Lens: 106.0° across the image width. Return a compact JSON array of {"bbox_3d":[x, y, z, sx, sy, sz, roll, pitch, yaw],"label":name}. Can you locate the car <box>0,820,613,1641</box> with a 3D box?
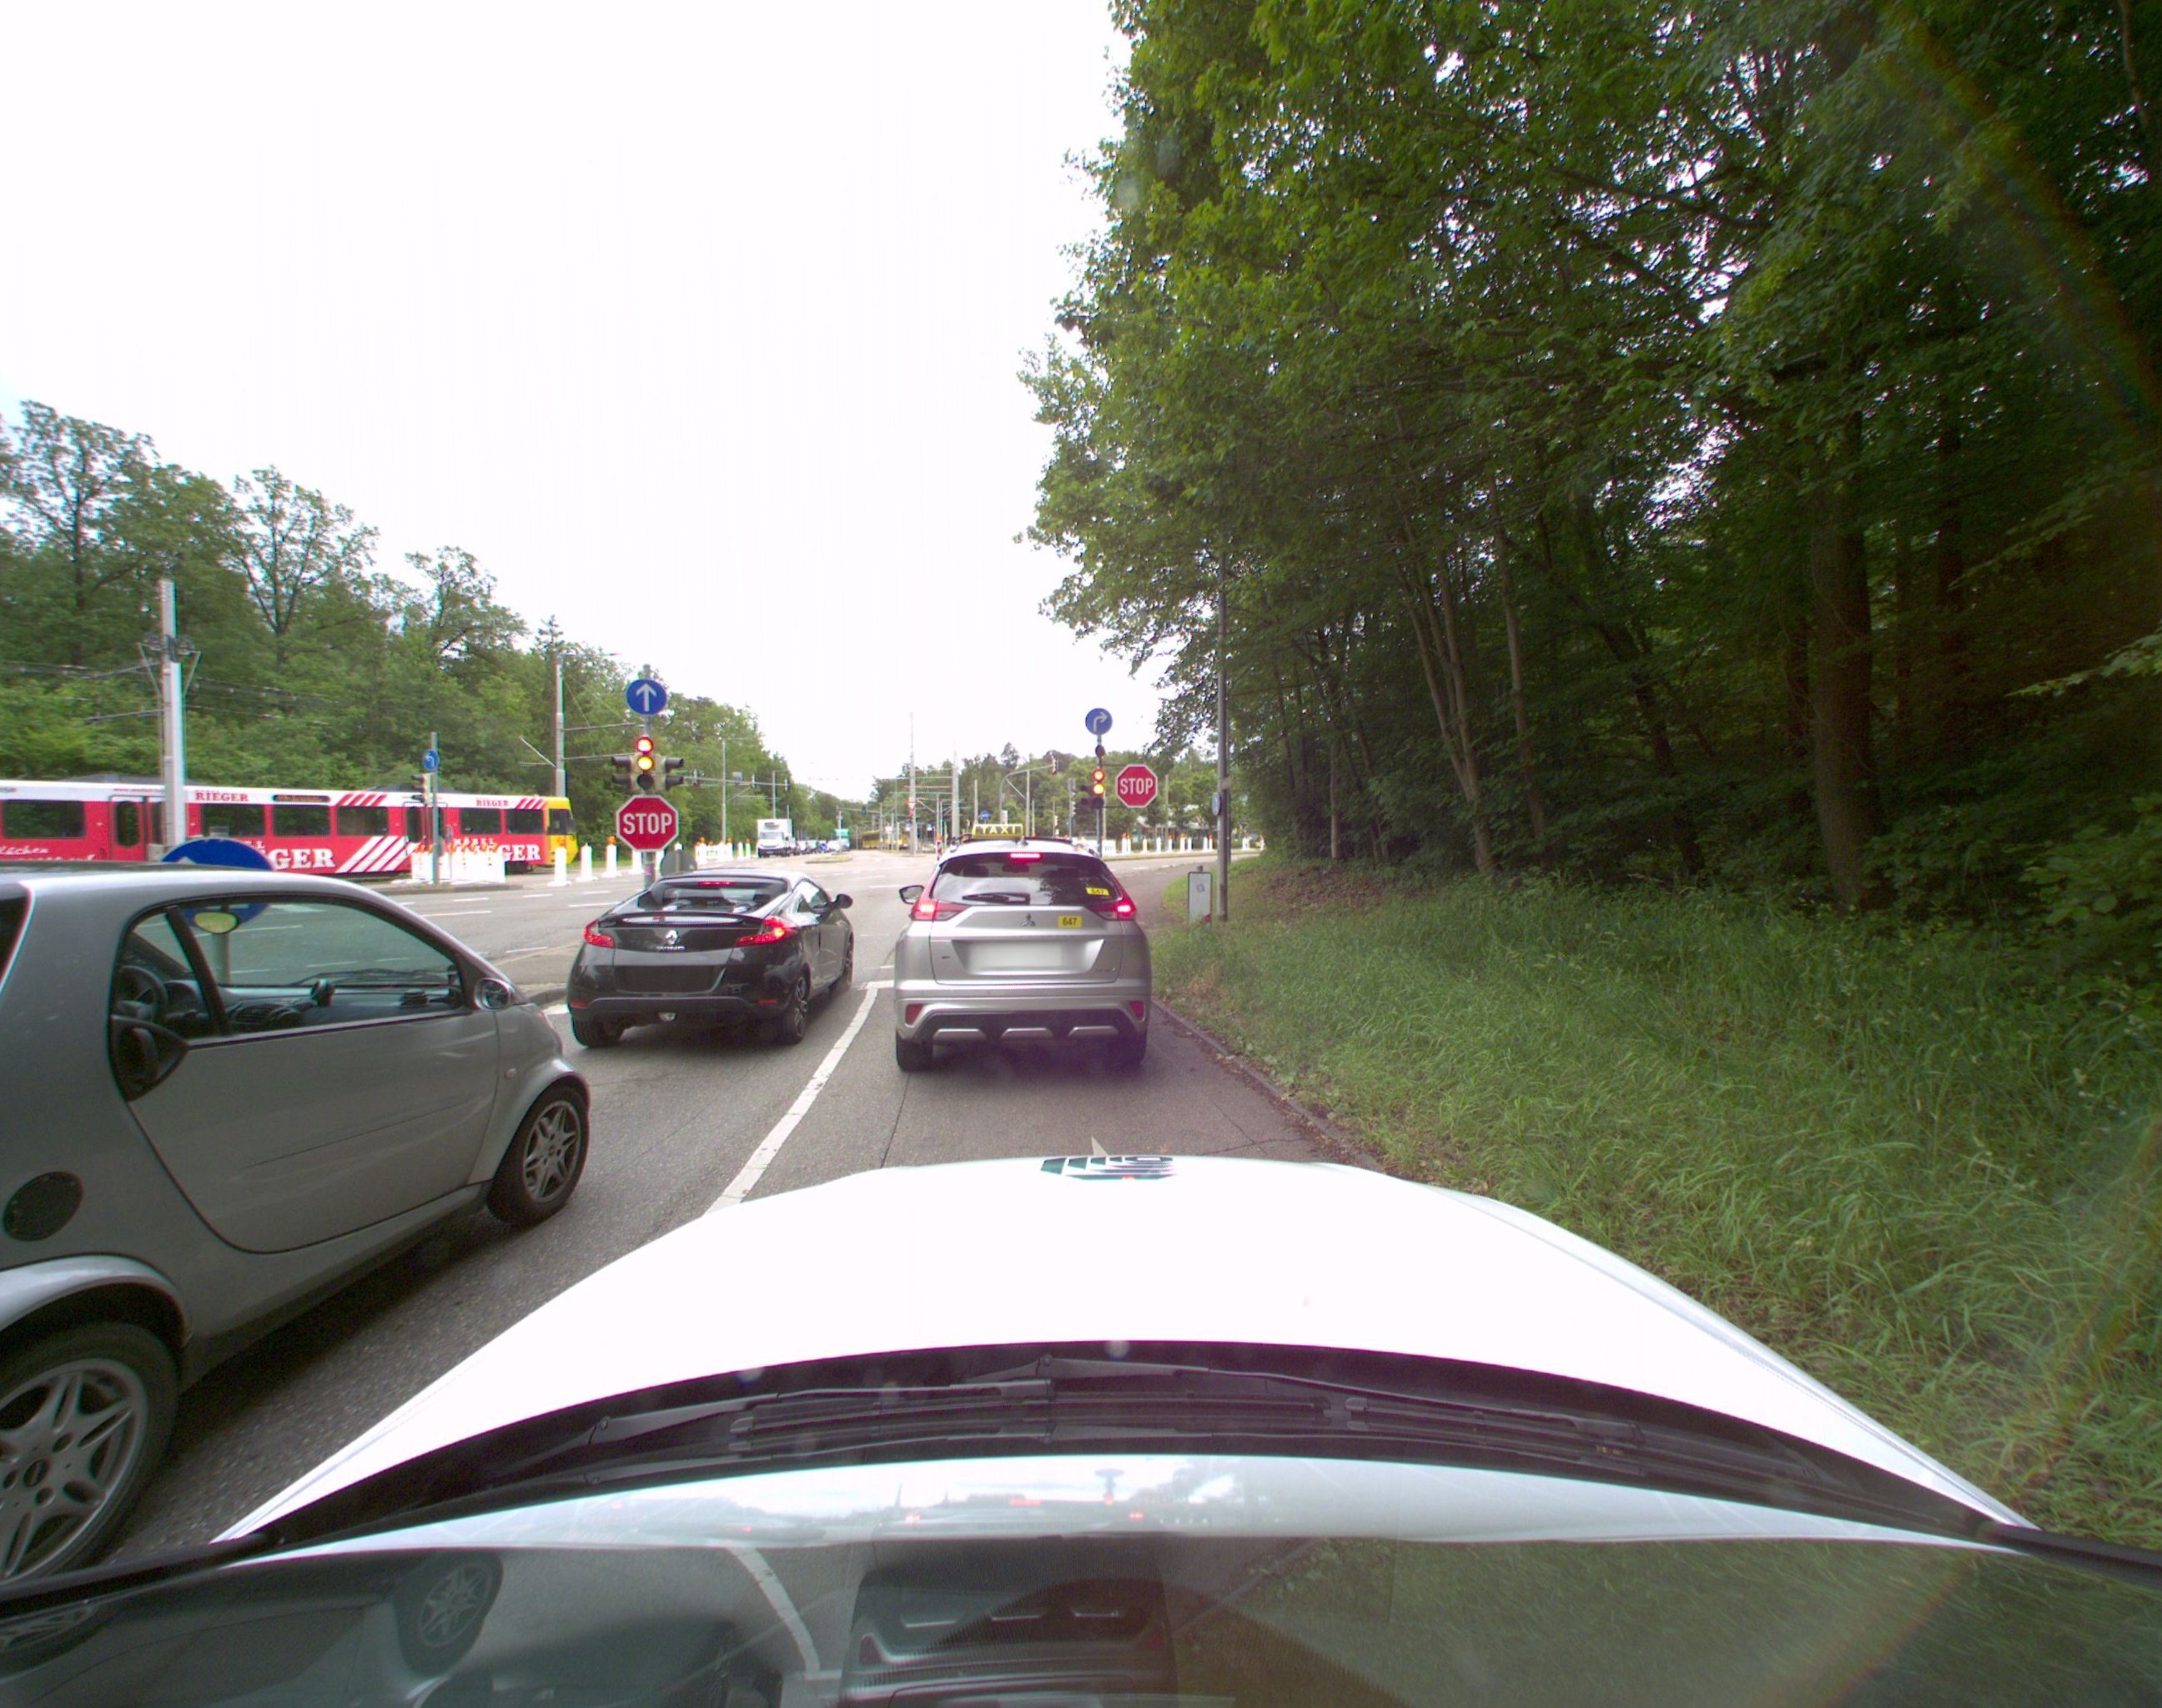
[{"bbox_3d":[-2.901,0.729,2.494,1.455,1.586,2.724,-1,1,-4],"label":"car"}]

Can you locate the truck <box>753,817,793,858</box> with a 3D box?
[{"bbox_3d":[-25.529,-1.335,67.712,2.454,3.224,7.116,-2,1,-16],"label":"truck"}]

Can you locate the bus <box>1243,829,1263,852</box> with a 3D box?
[{"bbox_3d":[28.559,-2.299,135.237,2.804,3.602,12.841,0,1,10],"label":"bus"}]

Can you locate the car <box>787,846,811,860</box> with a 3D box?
[{"bbox_3d":[-30.257,-0.151,87.600,1.964,1.361,4.669,-1,1,-13],"label":"car"}]

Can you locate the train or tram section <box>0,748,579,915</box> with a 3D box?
[{"bbox_3d":[-28.431,-0.591,29.437,2.919,4.650,18.656,-1,-1,28],"label":"train or tram section"}]

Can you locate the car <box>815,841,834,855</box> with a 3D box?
[{"bbox_3d":[-32.075,-0.780,101.978,1.964,1.607,4.291,-1,1,-13],"label":"car"}]

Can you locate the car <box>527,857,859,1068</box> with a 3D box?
[{"bbox_3d":[-3.188,0.756,7.497,1.773,1.361,3.466,-1,1,-9],"label":"car"}]

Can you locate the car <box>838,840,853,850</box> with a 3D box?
[{"bbox_3d":[-34.963,-1.374,121.097,1.964,1.540,4.291,-1,1,-13],"label":"car"}]

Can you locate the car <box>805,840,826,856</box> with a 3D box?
[{"bbox_3d":[-31.326,-0.736,96.100,1.964,1.844,4.669,-1,1,-13],"label":"car"}]

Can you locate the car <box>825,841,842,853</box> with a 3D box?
[{"bbox_3d":[-32.772,-1.003,107.923,1.964,1.541,4.376,-1,1,-13],"label":"car"}]

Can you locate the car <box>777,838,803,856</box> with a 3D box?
[{"bbox_3d":[-28.391,-0.695,79.573,1.965,1.749,4.822,-1,1,-15],"label":"car"}]

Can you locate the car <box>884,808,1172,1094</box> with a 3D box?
[{"bbox_3d":[-0.520,0.580,6.962,1.772,1.748,3.772,1,1,-7],"label":"car"}]
